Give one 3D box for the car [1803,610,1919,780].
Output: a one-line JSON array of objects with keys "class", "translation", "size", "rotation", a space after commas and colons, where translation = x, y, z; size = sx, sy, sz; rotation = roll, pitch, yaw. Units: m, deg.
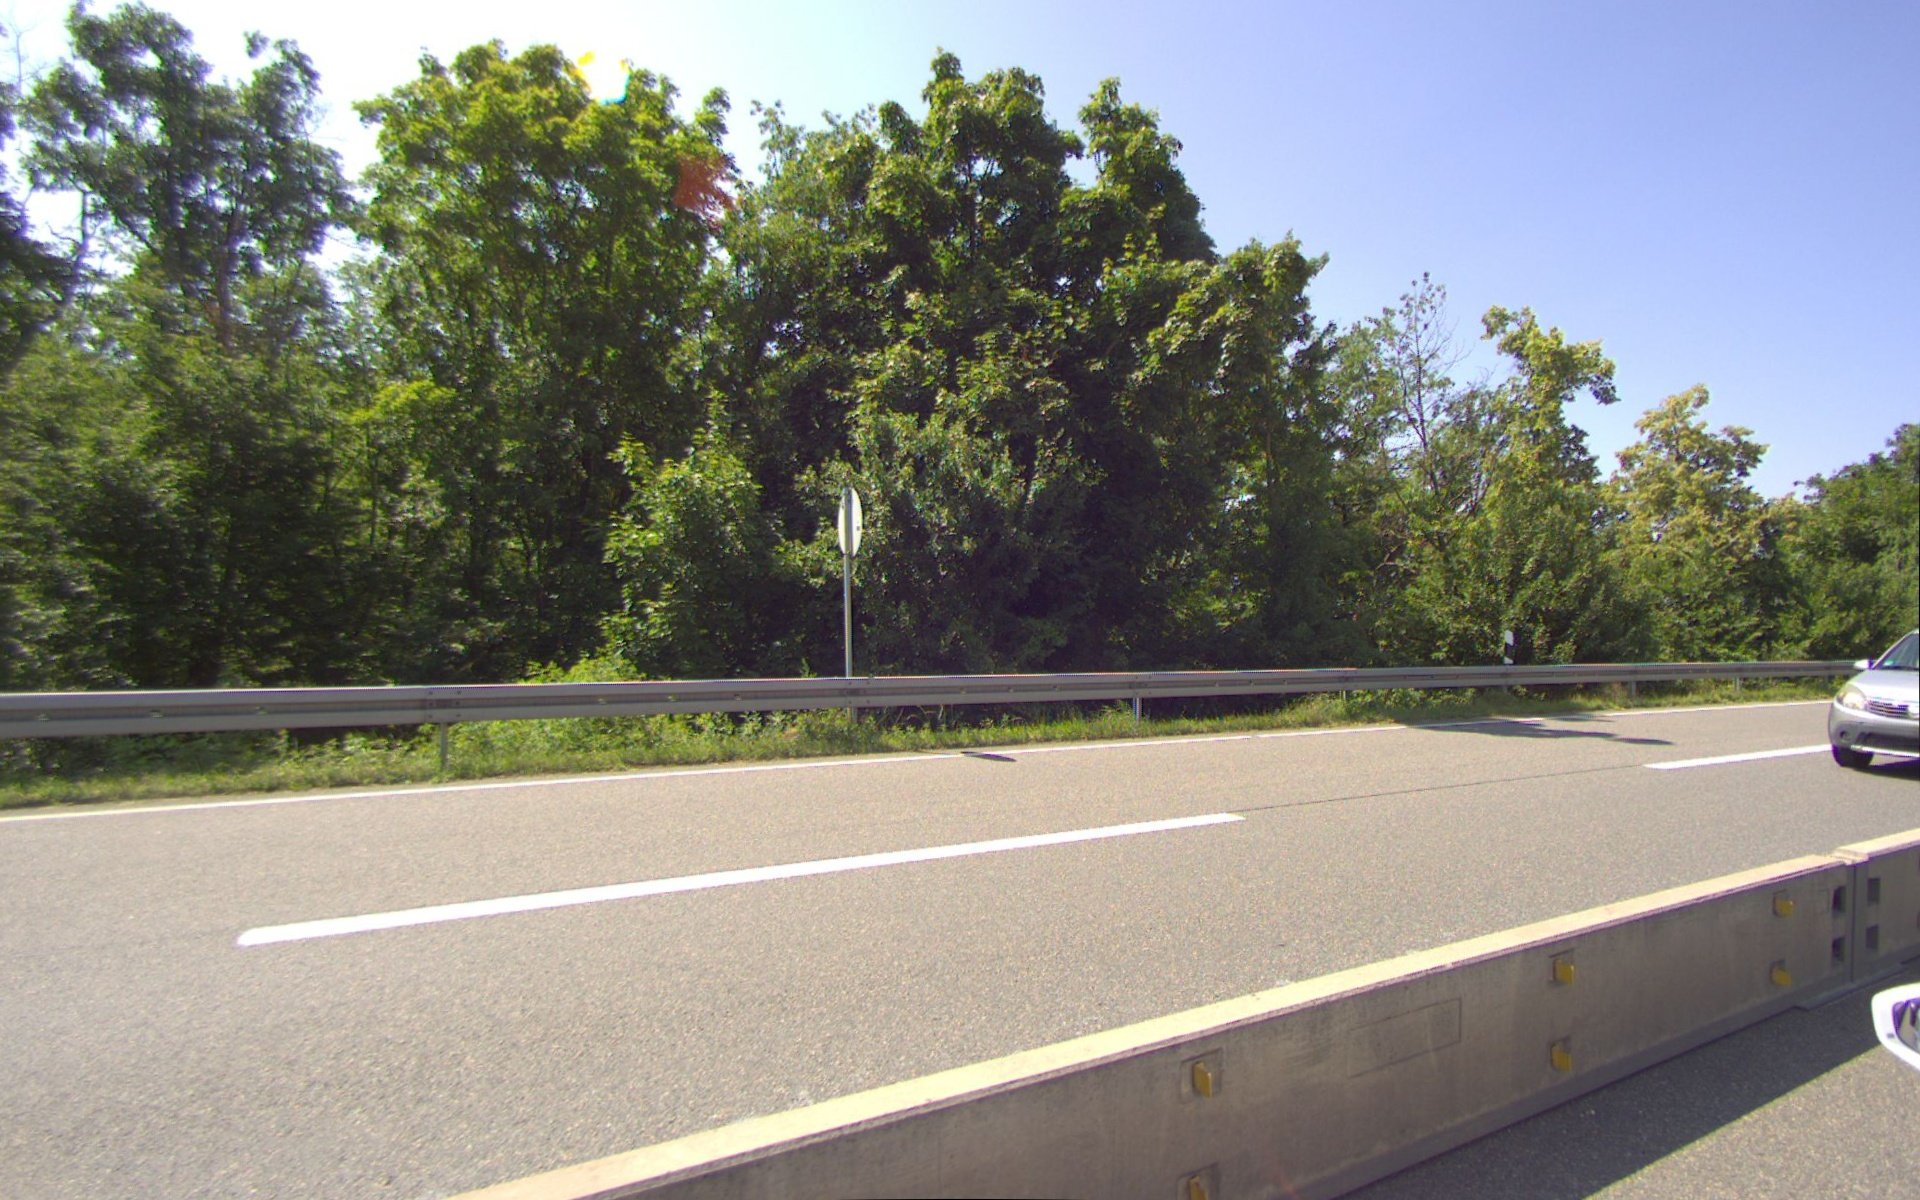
[{"class": "car", "translation": [10.970, 0.974, 10.756], "size": [3.739, 1.651, 1.820], "rotation": [2, -1, -30]}]
